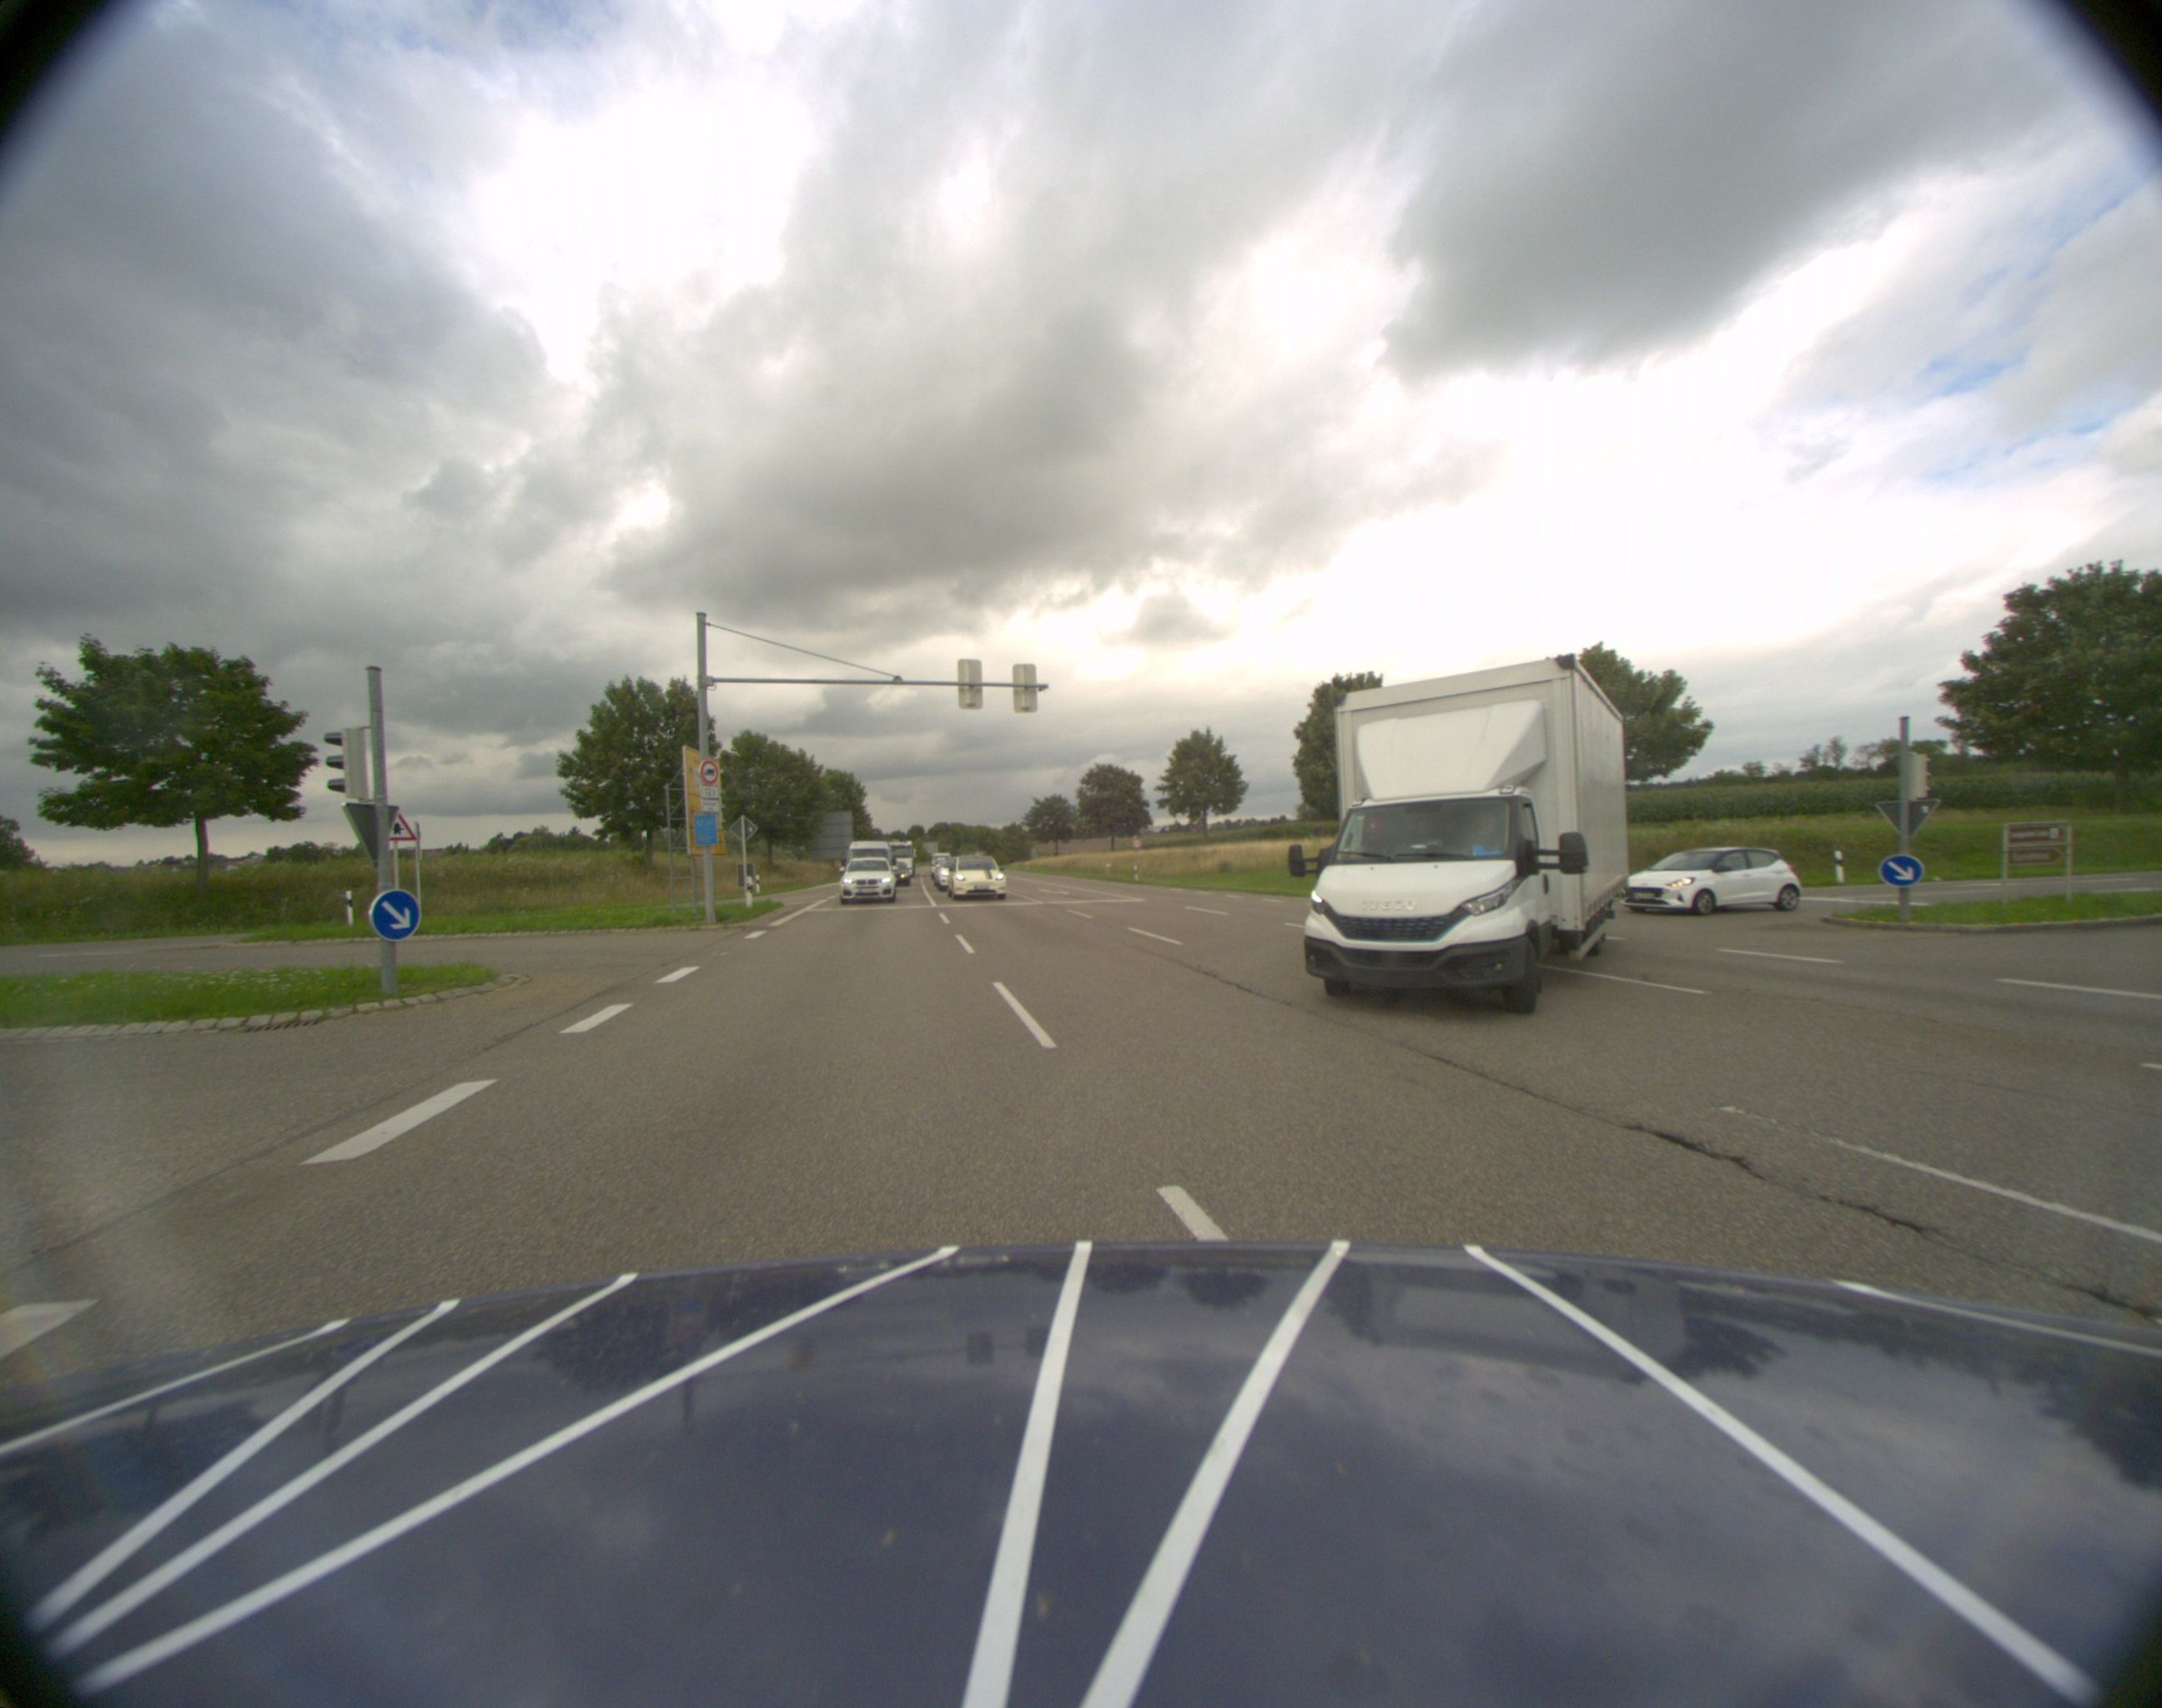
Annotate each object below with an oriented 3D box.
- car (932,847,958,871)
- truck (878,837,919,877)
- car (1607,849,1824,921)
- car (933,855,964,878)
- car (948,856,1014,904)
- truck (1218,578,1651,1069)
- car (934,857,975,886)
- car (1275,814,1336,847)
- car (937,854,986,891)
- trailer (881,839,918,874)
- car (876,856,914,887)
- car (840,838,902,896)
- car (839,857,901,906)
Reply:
[{"bbox_3d":[-12.336,0.454,68.731,2.170,2.002,4.675,-1,0,-12],"label":"car"},{"bbox_3d":[-15.412,0.219,64.280,3.110,3.091,7.398,-2,0,-13],"label":"truck"},{"bbox_3d":[14.792,0.677,17.786,4.001,1.444,1.808,-2,1,-12],"label":"car"},{"bbox_3d":[-9.975,0.906,56.954,2.001,1.583,4.441,-1,0,-13],"label":"car"},{"bbox_3d":[-3.954,0.927,29.348,2.001,1.556,4.743,-3,1,-13],"label":"car"},{"bbox_3d":[5.366,-0.278,10.053,2.831,3.742,8.818,0,1,41],"label":"truck"},{"bbox_3d":[-7.233,0.950,43.085,2.001,1.446,4.575,-1,0,-13],"label":"car"},{"bbox_3d":[15.517,-1.599,52.662,2.001,2.002,3.993,-4,1,-20],"label":"car"},{"bbox_3d":[-5.856,0.837,36.777,2.000,1.620,4.318,-3,1,-13],"label":"car"},{"bbox_3d":[-17.409,0.238,73.079,3.110,3.073,10.649,-2,0,-13],"label":"trailer"},{"bbox_3d":[-10.940,0.978,44.783,2.001,1.619,4.270,-3,1,-13],"label":"car"},{"bbox_3d":[-9.879,0.580,36.105,2.399,2.427,5.506,-3,1,-12],"label":"car"},{"bbox_3d":[-7.695,0.938,28.083,2.001,1.619,4.269,-1,0,-13],"label":"car"}]
